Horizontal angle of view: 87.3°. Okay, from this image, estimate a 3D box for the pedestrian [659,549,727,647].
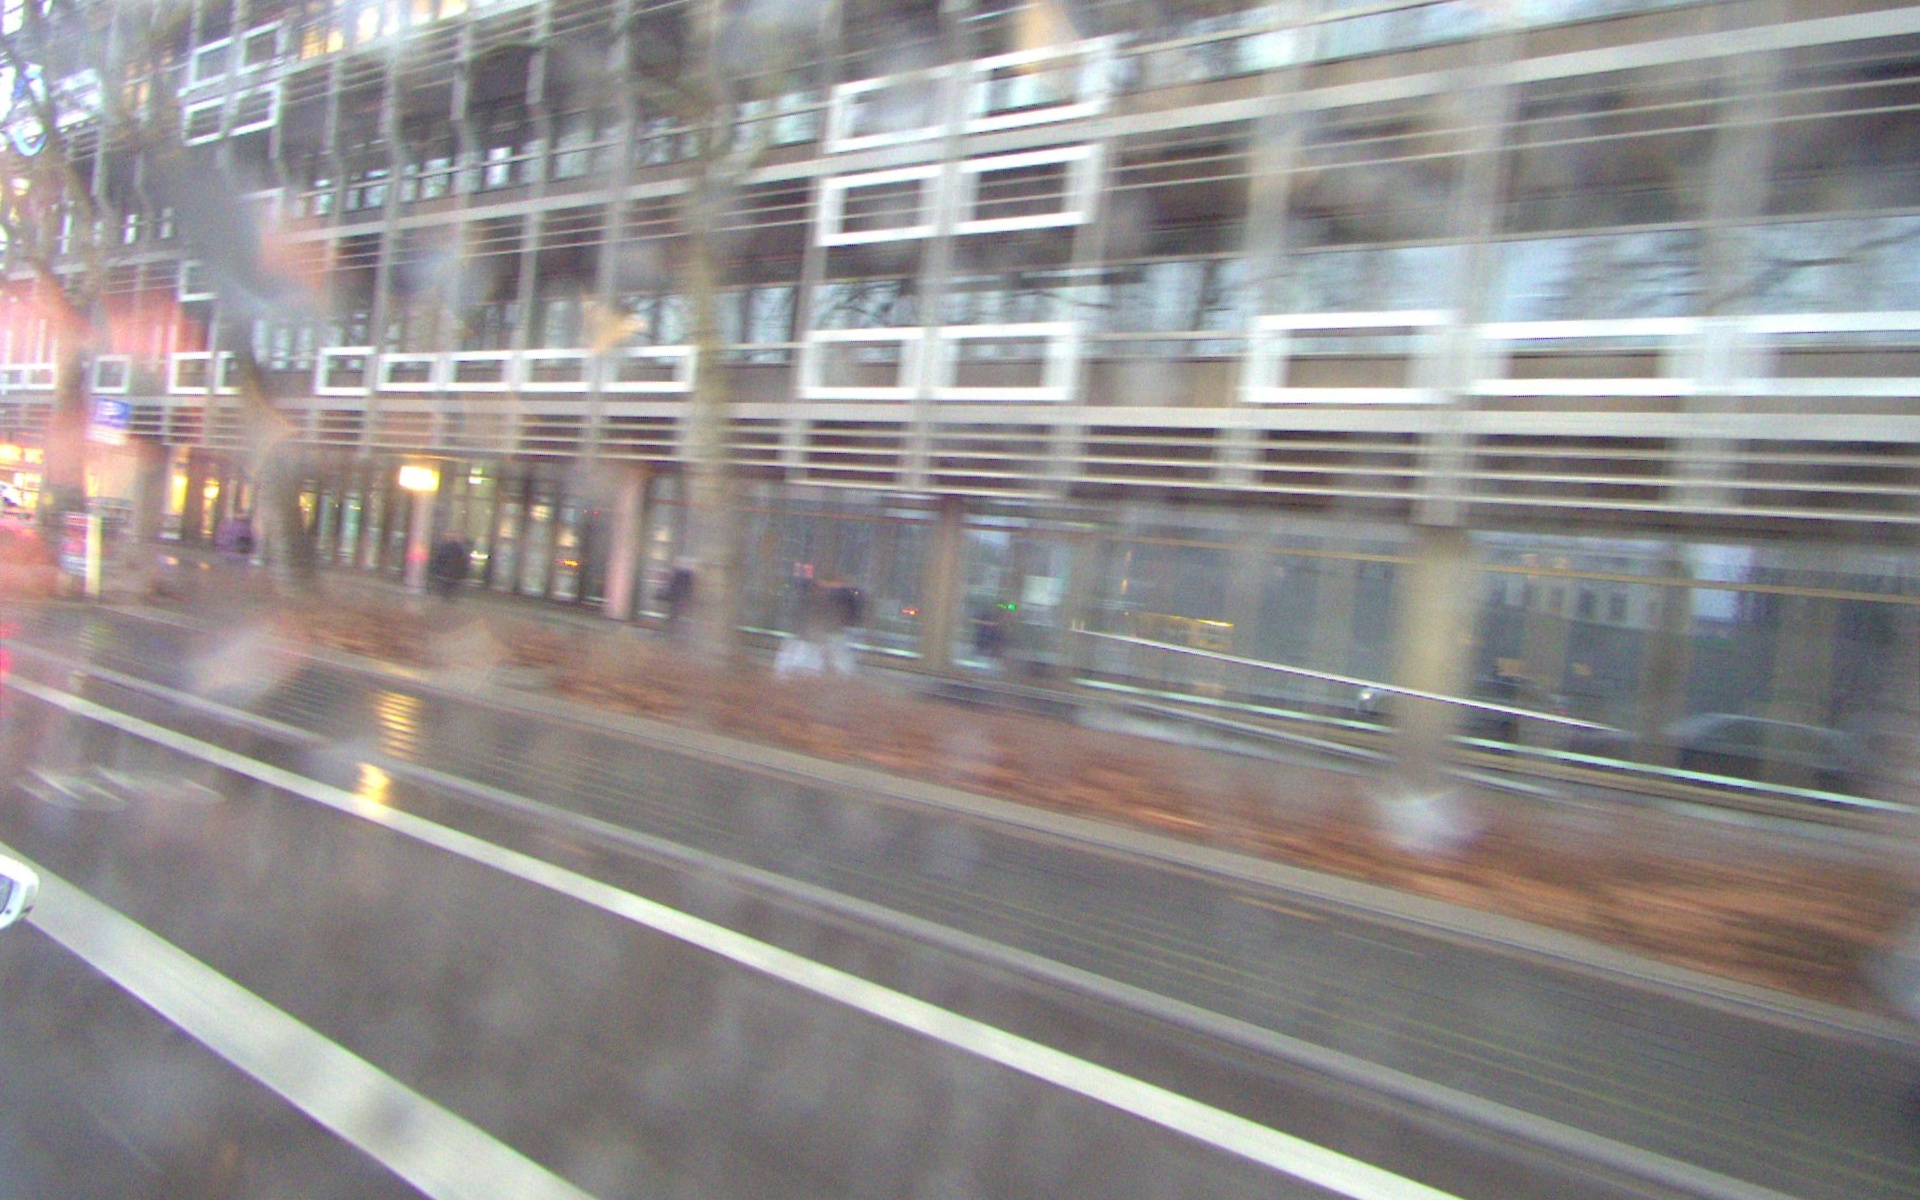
[{"bbox_3d":[-4.891,-0.027,18.456,0.828,1.675,0.641,7,1,27],"label":"pedestrian"}]

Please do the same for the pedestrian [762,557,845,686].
[{"bbox_3d":[-2.192,0.299,14.050,0.859,1.689,0.500,7,1,32],"label":"pedestrian"}]

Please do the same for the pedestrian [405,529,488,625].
[{"bbox_3d":[-9.012,-0.394,17.679,0.824,1.543,0.864,7,1,32],"label":"pedestrian"}]

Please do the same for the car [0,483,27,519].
[{"bbox_3d":[-53.839,-5.660,54.654,1.680,1.783,4.304,7,0,35],"label":"car"}]

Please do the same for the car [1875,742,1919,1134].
[{"bbox_3d":[5.354,1.514,2.760,3.867,1.451,1.603,7,2,34],"label":"car"}]

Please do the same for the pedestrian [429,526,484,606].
[{"bbox_3d":[-11.327,-0.758,22.629,0.767,1.677,0.617,7,1,30],"label":"pedestrian"}]

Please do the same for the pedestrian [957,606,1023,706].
[{"bbox_3d":[0.465,0.836,15.239,0.702,1.407,0.564,7,1,20],"label":"pedestrian"}]

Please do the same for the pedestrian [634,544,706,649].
[{"bbox_3d":[-5.149,-0.051,17.863,0.828,1.739,0.660,7,1,27],"label":"pedestrian"}]

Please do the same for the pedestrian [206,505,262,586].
[{"bbox_3d":[-15.025,-1.114,20.821,0.605,1.563,0.648,7,1,33],"label":"pedestrian"}]

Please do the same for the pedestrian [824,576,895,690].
[{"bbox_3d":[-1.475,0.490,14.814,0.733,1.584,0.484,7,1,31],"label":"pedestrian"}]

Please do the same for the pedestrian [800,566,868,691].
[{"bbox_3d":[-1.798,0.403,14.305,0.702,1.689,0.378,7,1,33],"label":"pedestrian"}]
